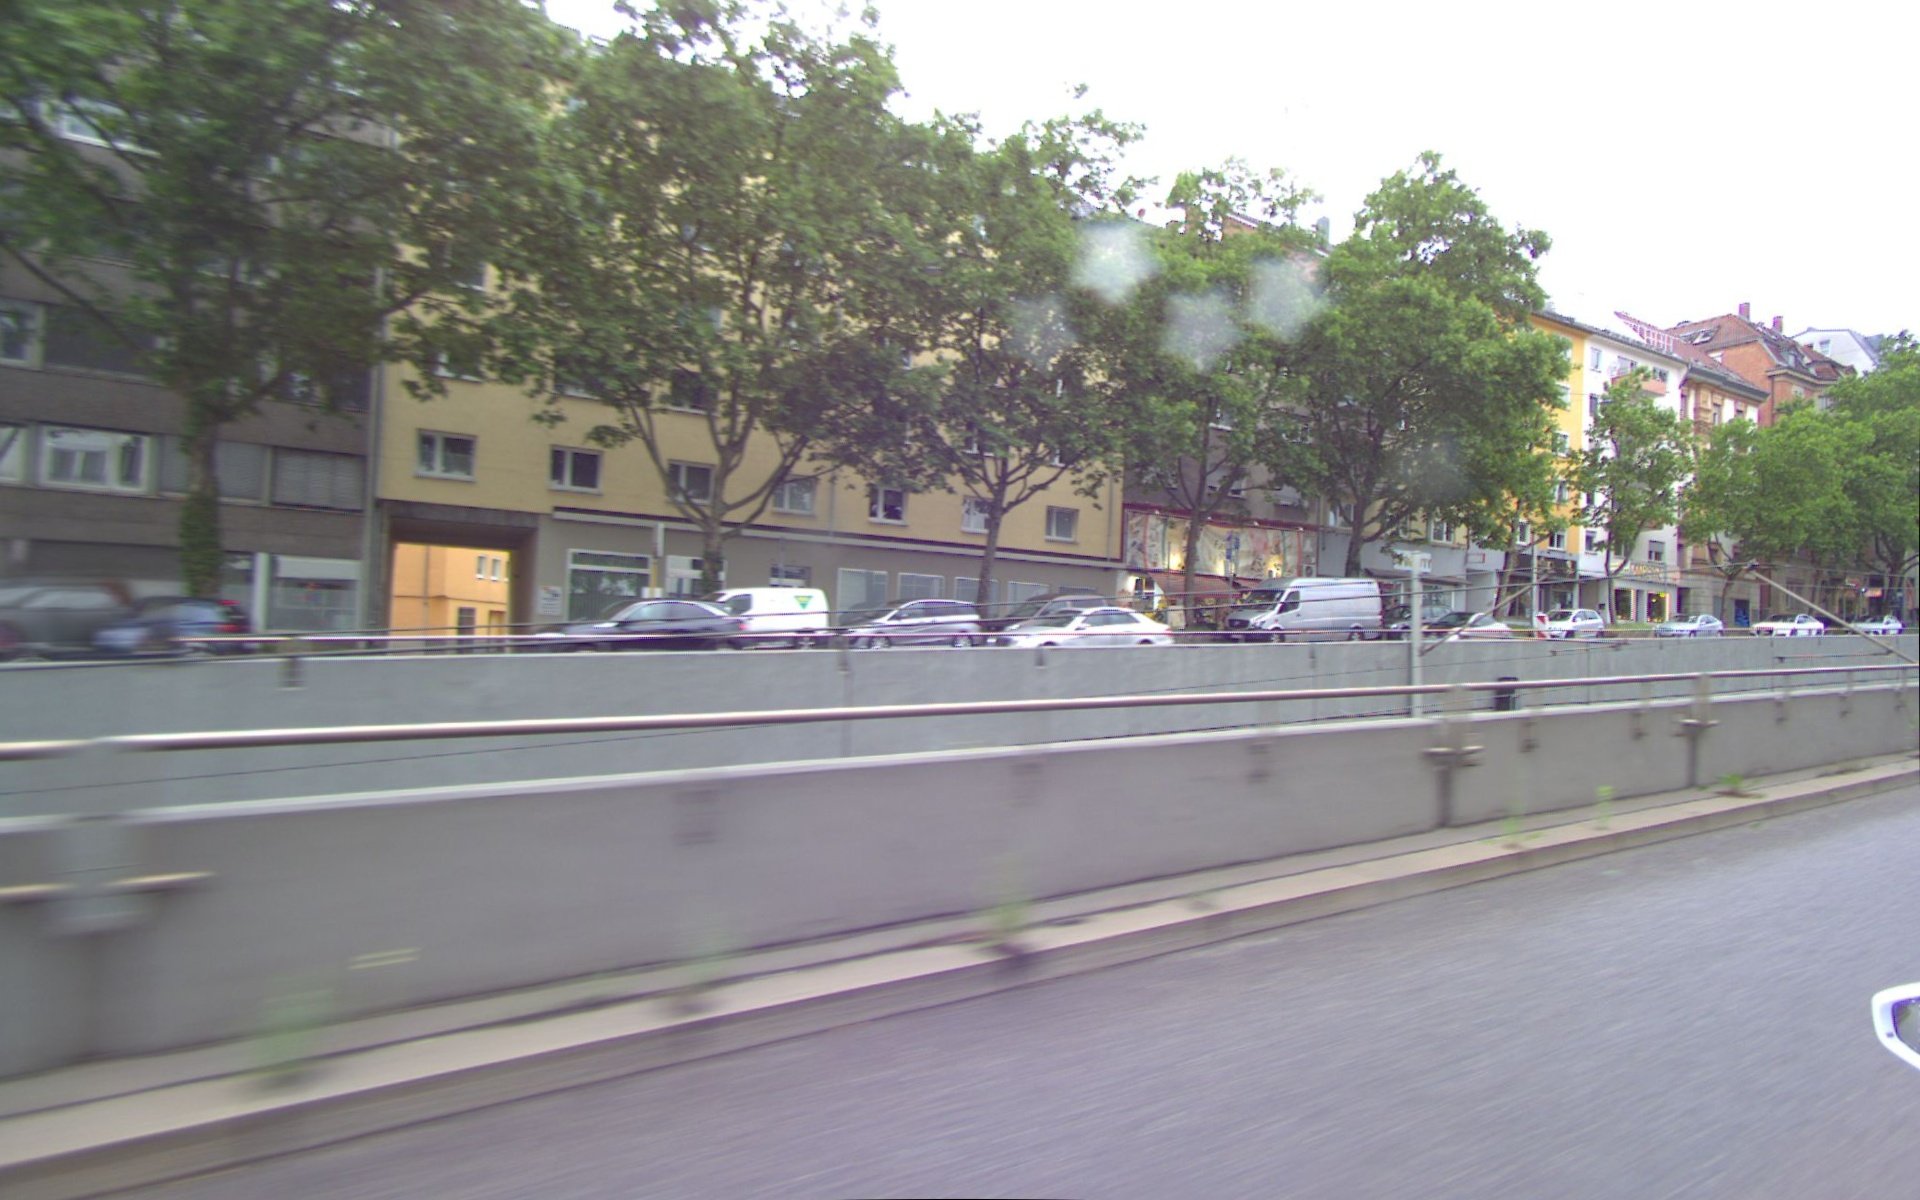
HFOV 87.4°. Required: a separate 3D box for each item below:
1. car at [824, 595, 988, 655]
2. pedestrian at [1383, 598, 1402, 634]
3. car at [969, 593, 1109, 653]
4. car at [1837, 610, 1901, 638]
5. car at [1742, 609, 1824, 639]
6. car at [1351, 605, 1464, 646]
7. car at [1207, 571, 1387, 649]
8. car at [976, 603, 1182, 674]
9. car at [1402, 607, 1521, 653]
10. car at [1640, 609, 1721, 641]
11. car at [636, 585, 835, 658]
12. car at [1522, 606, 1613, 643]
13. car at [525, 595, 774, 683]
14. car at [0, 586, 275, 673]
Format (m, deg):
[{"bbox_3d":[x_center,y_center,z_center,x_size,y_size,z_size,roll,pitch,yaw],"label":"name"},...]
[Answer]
[{"bbox_3d":[-1.544,0.710,29.317,4.422,1.604,1.867,1,1,-32],"label":"car"},{"bbox_3d":[21.991,0.821,51.096,0.612,1.772,0.522,1,2,-23],"label":"pedestrian"},{"bbox_3d":[2.512,0.687,31.552,4.160,1.752,1.784,1,1,-33],"label":"car"},{"bbox_3d":[55.844,1.469,61.677,4.064,1.633,1.785,1,1,-31],"label":"car"},{"bbox_3d":[46.216,1.335,56.378,5.138,1.622,1.917,1,1,-31],"label":"car"},{"bbox_3d":[17.993,1.009,40.371,4.616,1.530,1.786,1,1,-30],"label":"car"},{"bbox_3d":[12.636,0.363,37.509,6.849,2.698,2.441,1,1,-30],"label":"car"},{"bbox_3d":[2.903,0.878,24.184,4.763,1.530,1.838,1,1,-30],"label":"car"},{"bbox_3d":[17.892,1.038,35.810,3.966,1.530,1.839,1,1,-28],"label":"car"},{"bbox_3d":[36.539,1.260,50.913,4.157,1.530,1.786,1,1,-30],"label":"car"},{"bbox_3d":[-5.936,0.546,26.800,4.850,1.788,1.865,1,1,-34],"label":"car"},{"bbox_3d":[27.992,1.123,46.235,4.157,1.592,1.786,1,1,-30],"label":"car"},{"bbox_3d":[-5.932,0.747,19.300,4.292,1.530,1.786,2,-1,-30],"label":"car"},{"bbox_3d":[-16.030,0.557,19.681,4.001,1.571,1.693,1,1,-20],"label":"car"}]
